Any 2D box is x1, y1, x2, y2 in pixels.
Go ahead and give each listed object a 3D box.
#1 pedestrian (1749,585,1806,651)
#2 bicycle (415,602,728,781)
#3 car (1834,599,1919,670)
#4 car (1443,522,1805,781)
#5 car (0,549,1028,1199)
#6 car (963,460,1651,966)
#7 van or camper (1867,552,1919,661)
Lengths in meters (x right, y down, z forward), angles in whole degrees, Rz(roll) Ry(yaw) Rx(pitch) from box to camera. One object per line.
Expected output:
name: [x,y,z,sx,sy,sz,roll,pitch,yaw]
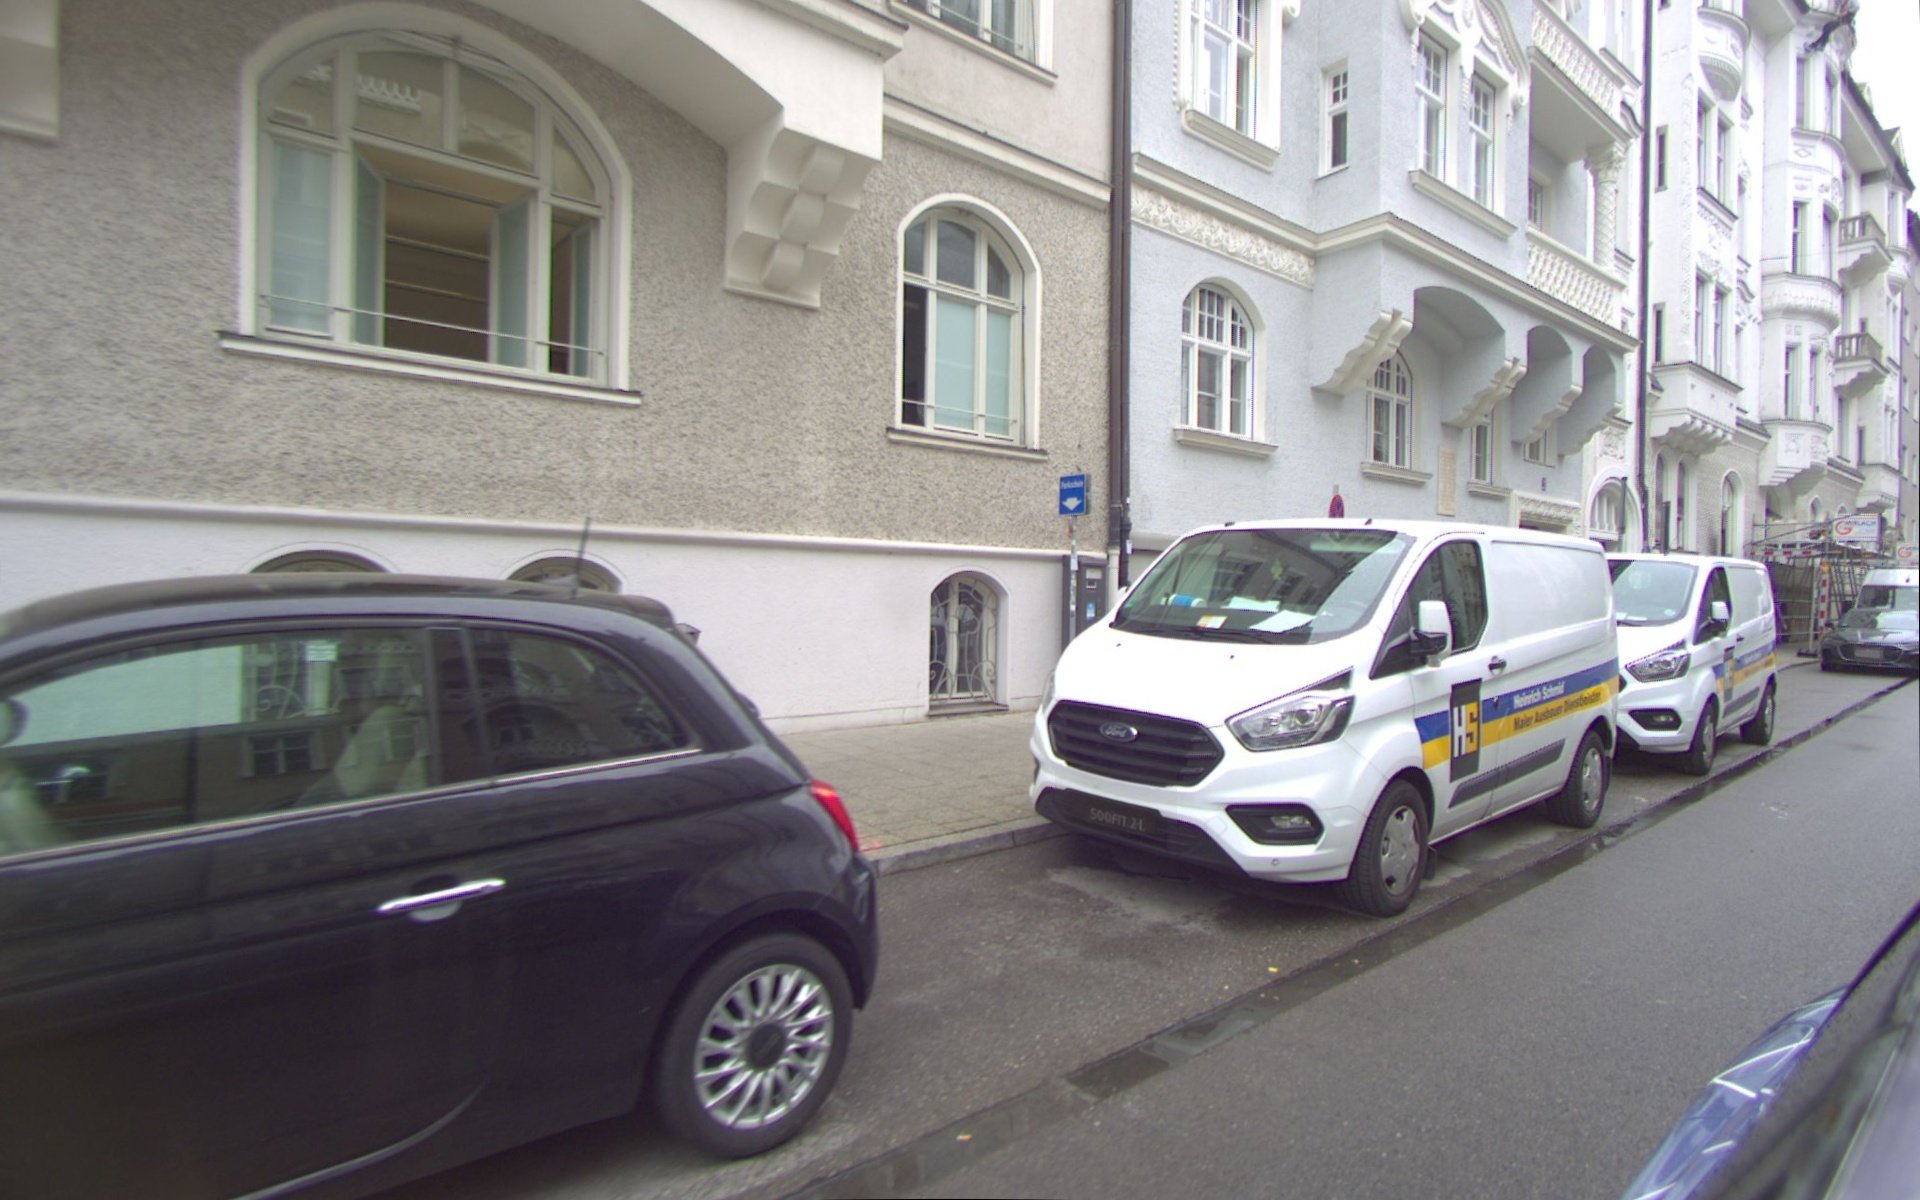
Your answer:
pedestrian: [20.872,0.433,25.832,0.999,1.573,0.922,-2,4,-41]
bicycle: [-2.775,0.590,7.369,2.000,1.107,0.696,0,2,-40]
car: [21.011,0.717,22.607,4.017,1.452,1.756,0,1,-42]
car: [6.978,0.388,10.382,4.908,2.039,1.962,0,1,-43]
car: [-1.737,0.651,2.624,3.716,1.503,1.635,0,1,-40]
car: [2.484,0.421,6.322,4.908,1.961,1.962,0,1,-43]
van or camper: [25.450,0.149,26.434,5.363,2.670,1.957,0,1,-41]
